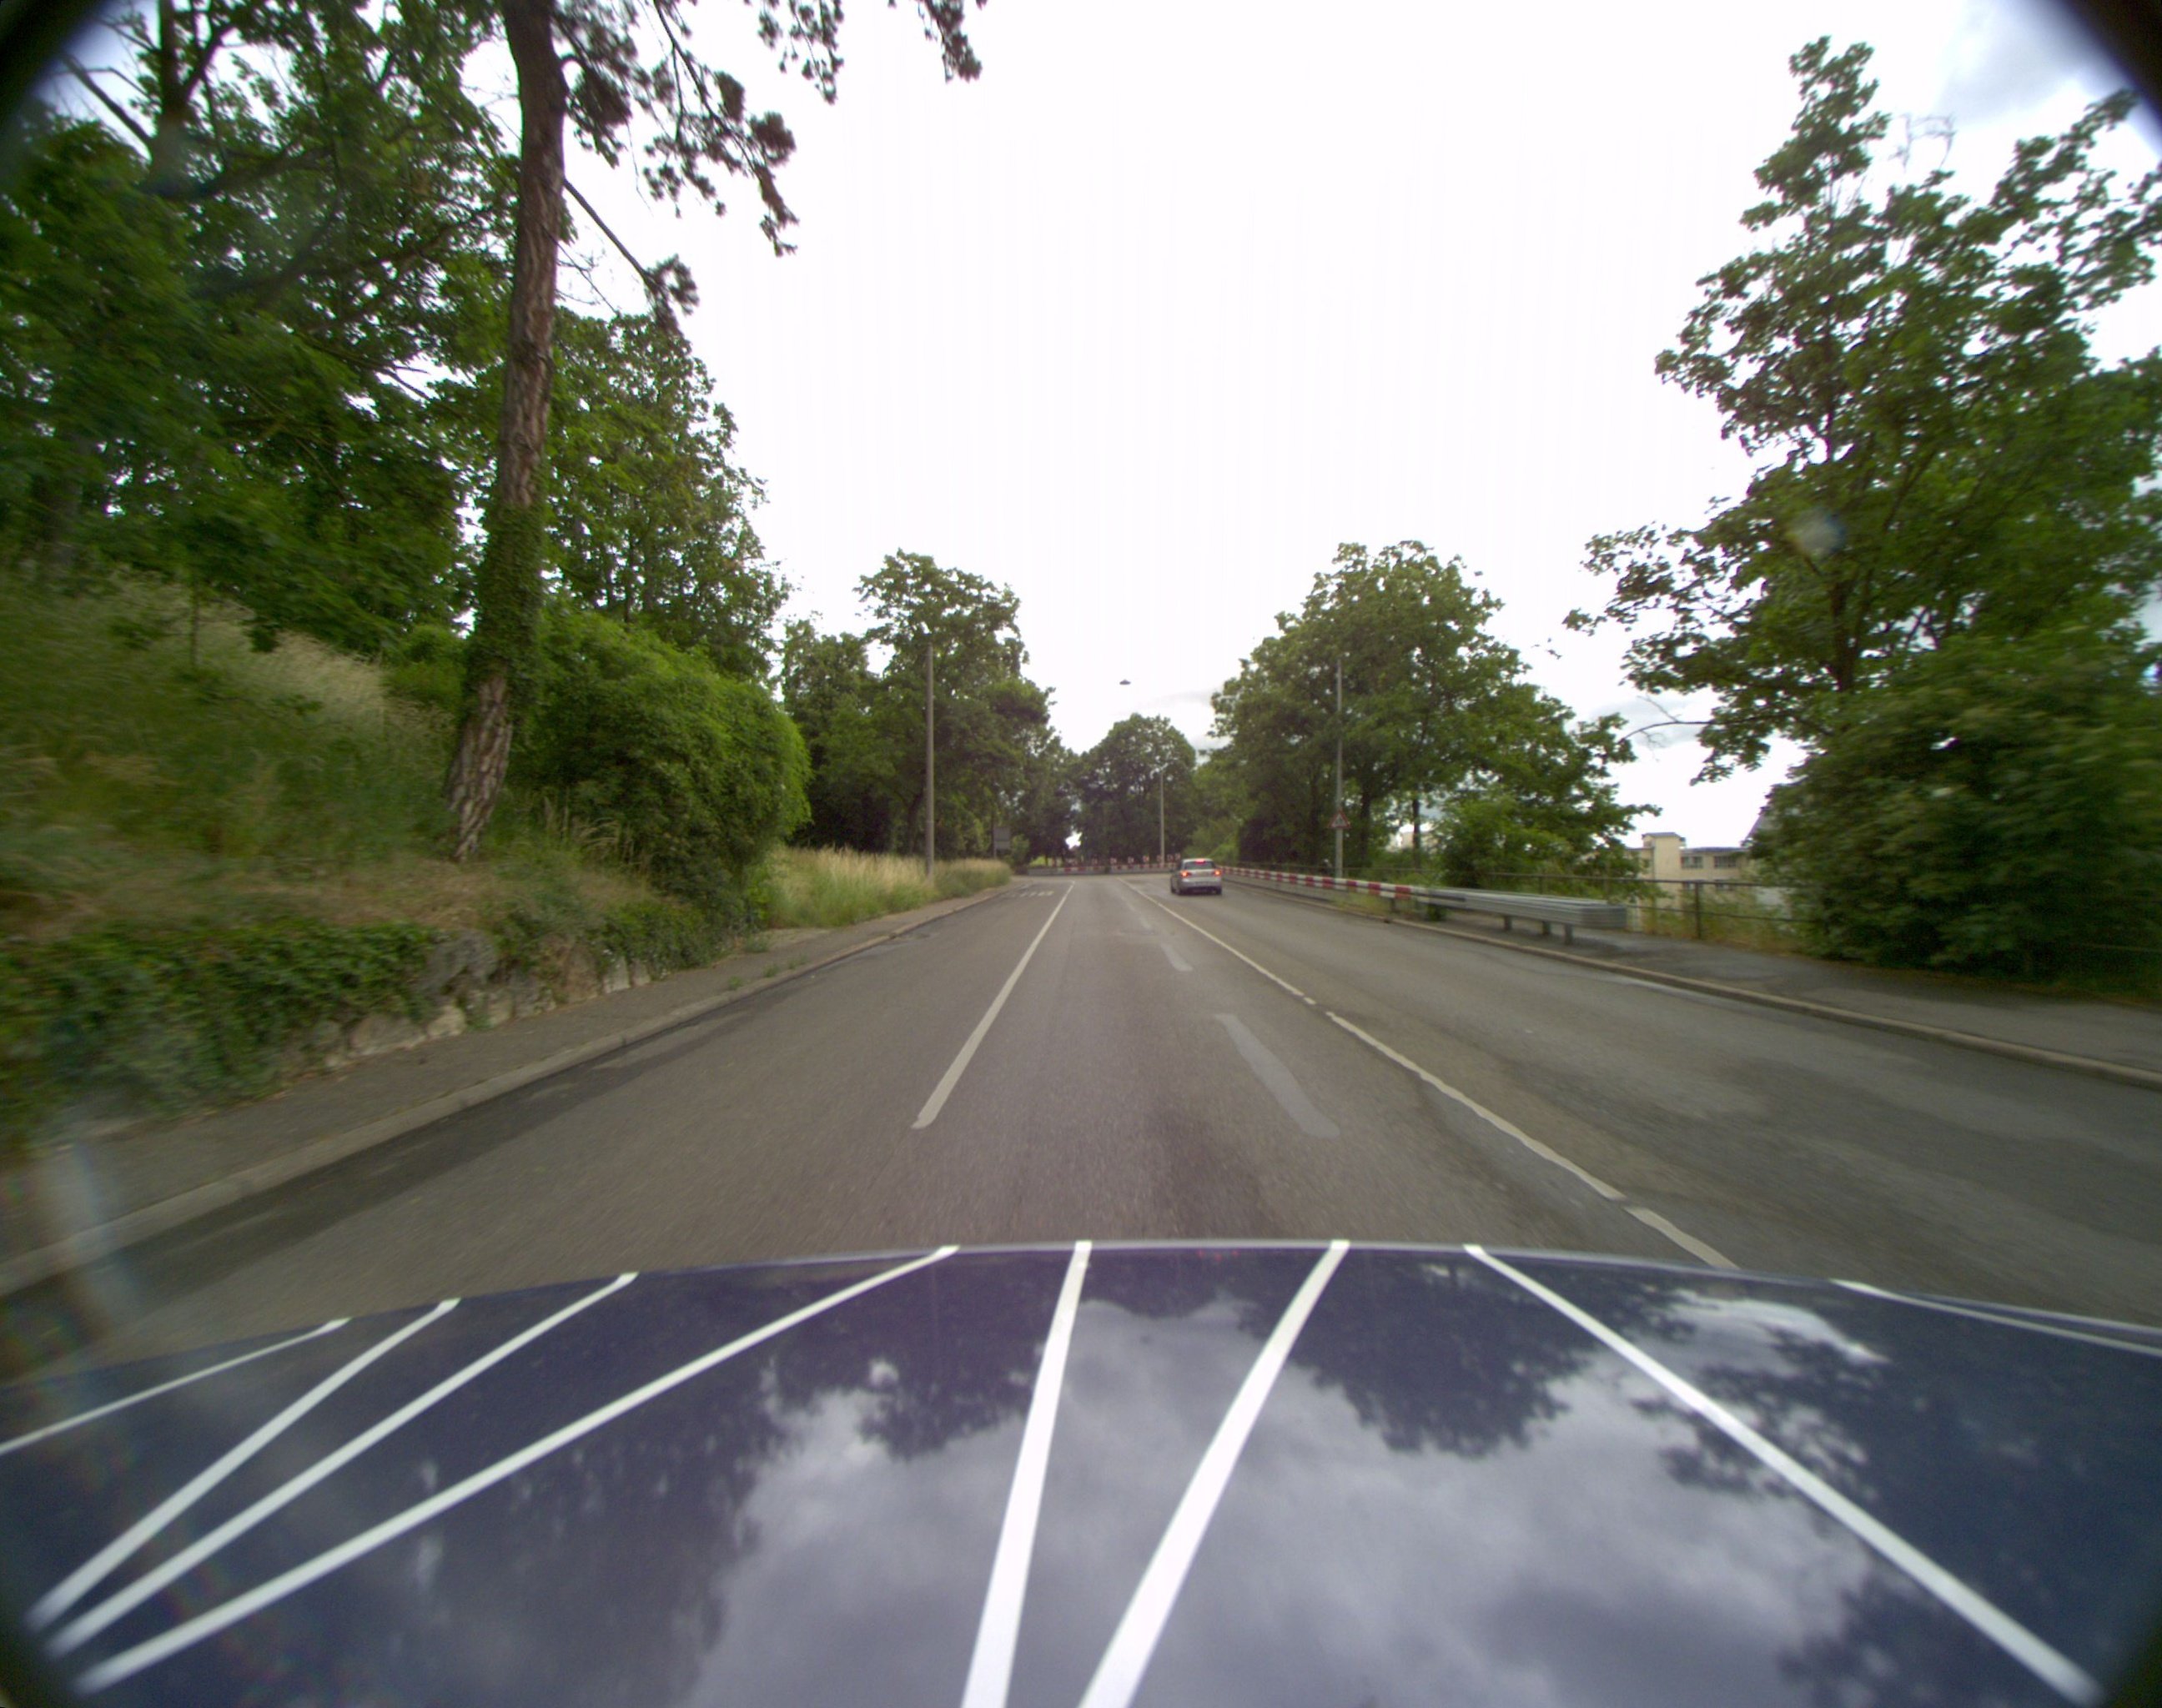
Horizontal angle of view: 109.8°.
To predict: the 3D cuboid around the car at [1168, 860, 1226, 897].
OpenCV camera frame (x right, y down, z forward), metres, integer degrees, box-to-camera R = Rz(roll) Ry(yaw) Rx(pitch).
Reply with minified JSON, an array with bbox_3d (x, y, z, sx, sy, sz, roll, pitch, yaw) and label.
[{"bbox_3d":[4.796,0.972,31.880,1.799,1.419,4.143,-1,0,0],"label":"car"}]
